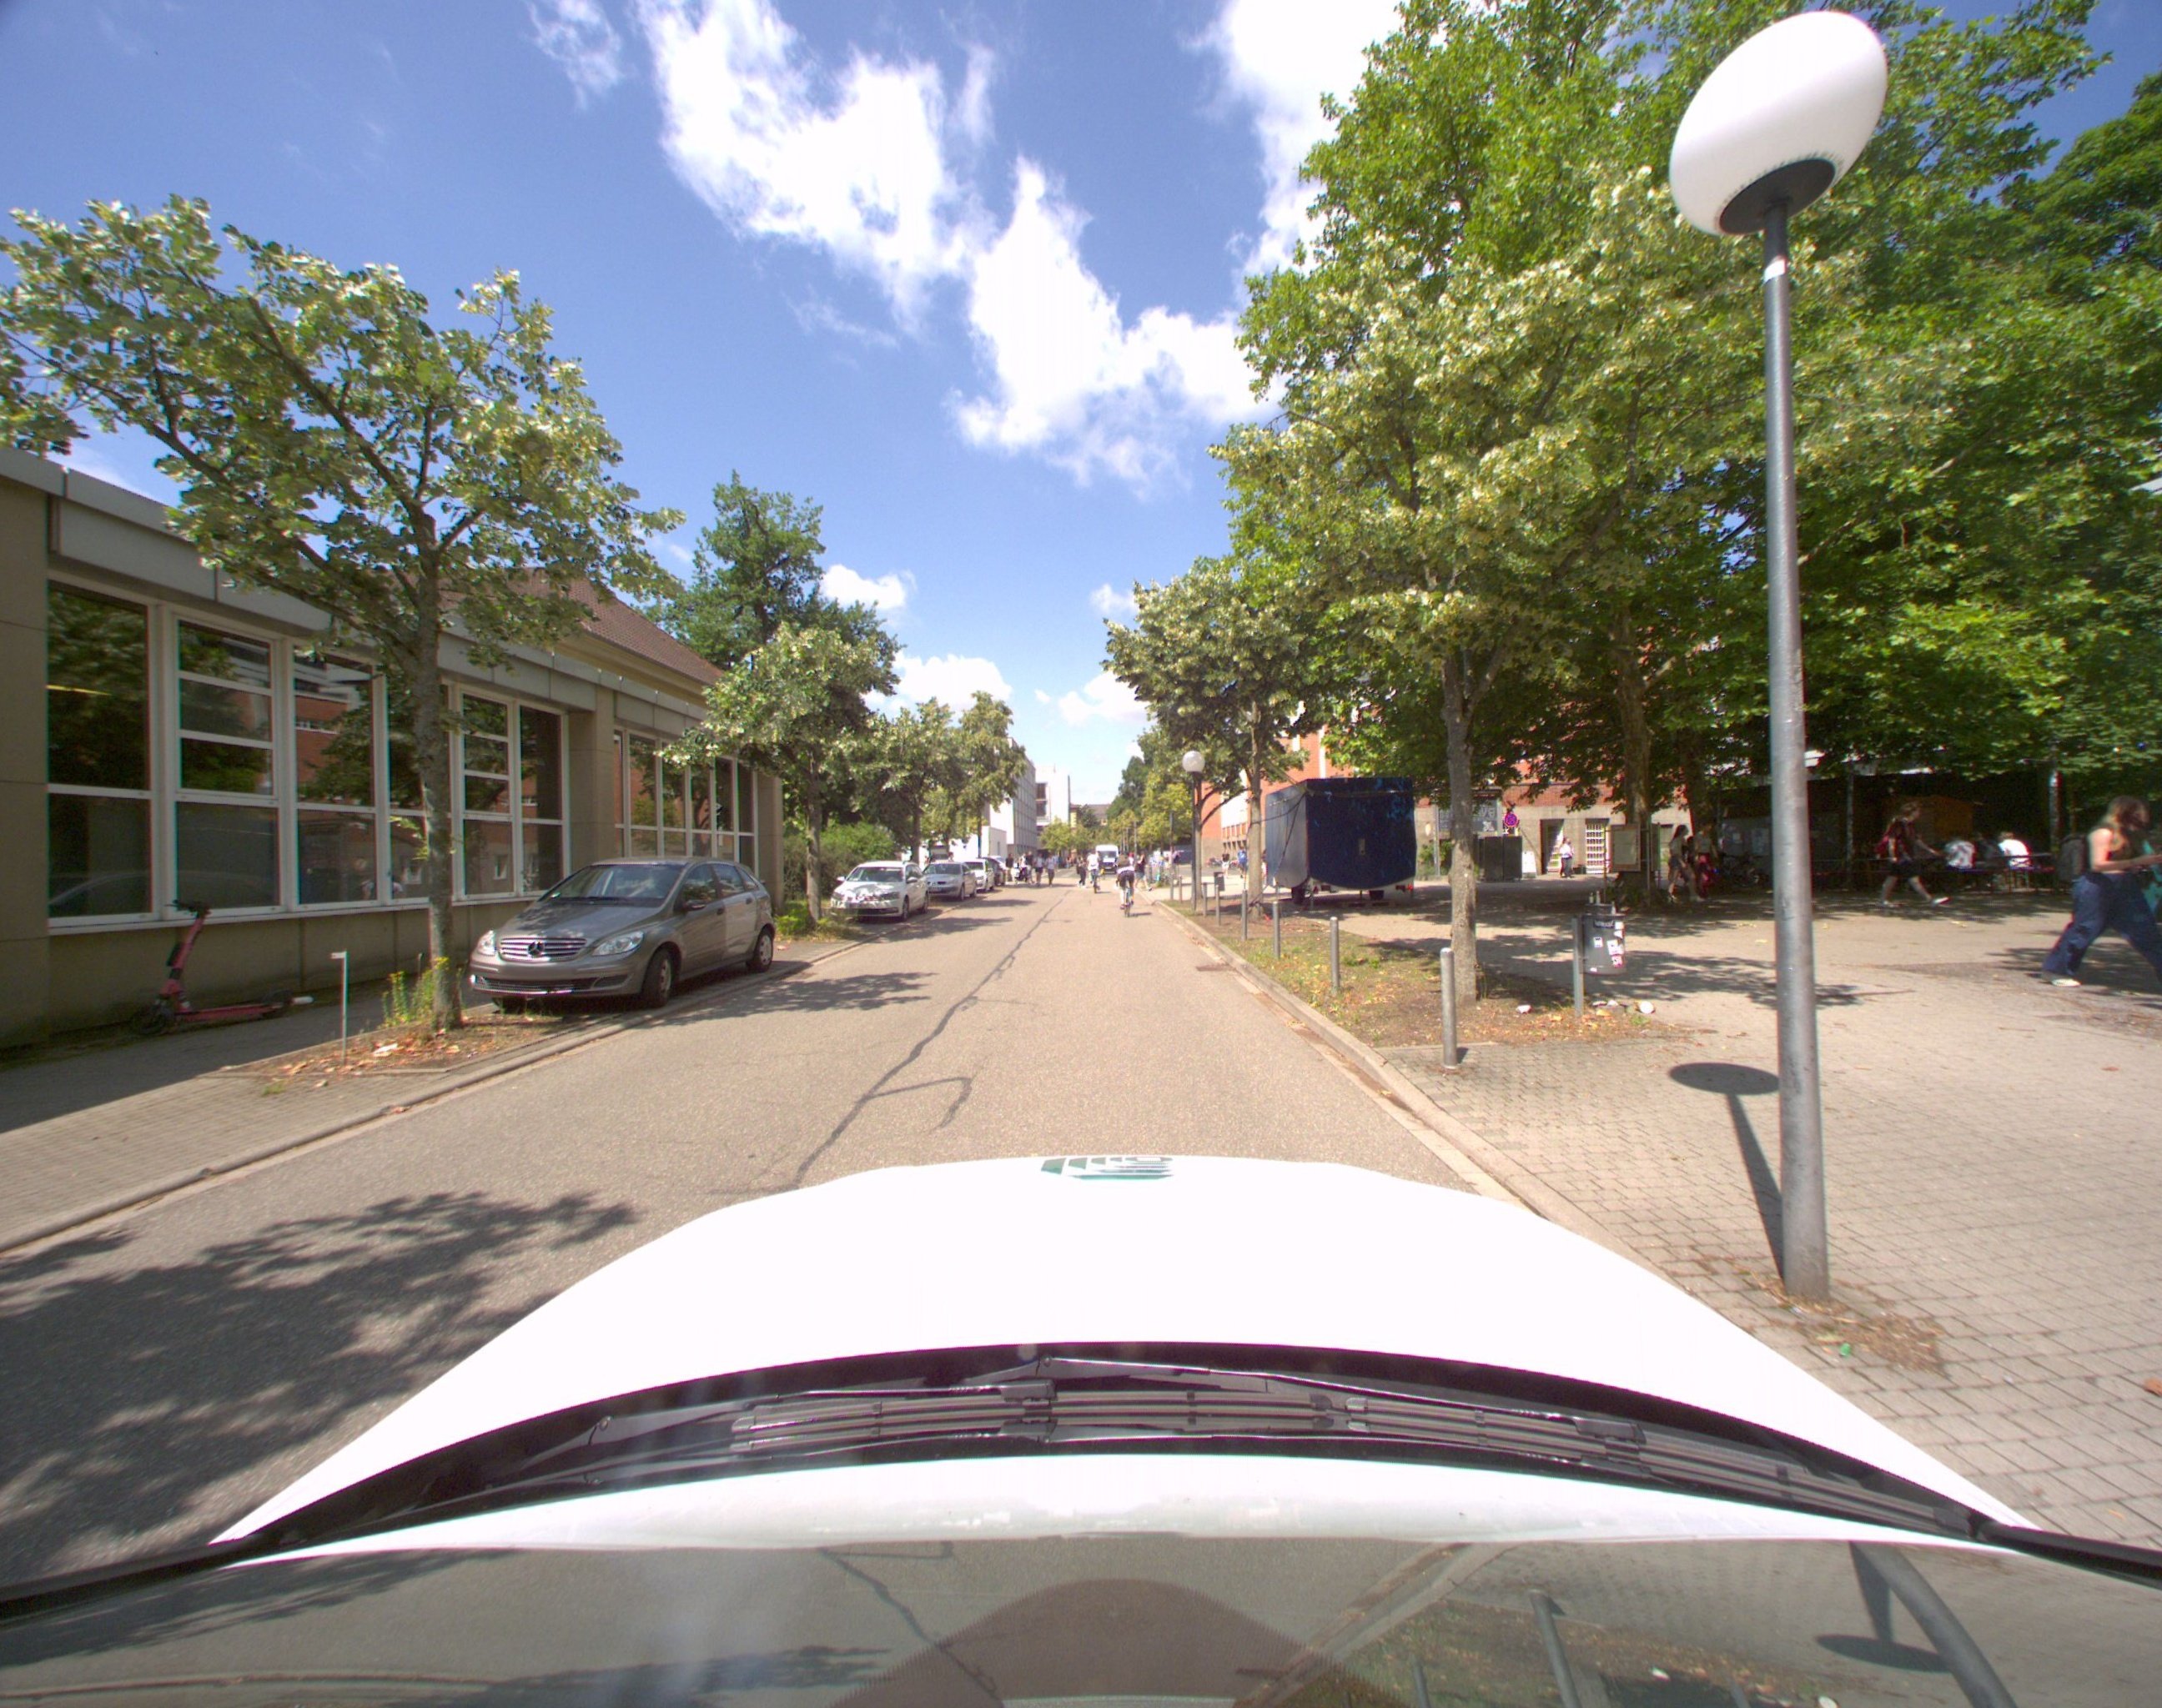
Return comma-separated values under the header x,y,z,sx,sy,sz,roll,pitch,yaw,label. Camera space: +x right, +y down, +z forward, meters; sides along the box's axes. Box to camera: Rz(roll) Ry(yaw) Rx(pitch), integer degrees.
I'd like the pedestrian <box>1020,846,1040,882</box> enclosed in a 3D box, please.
x,y,z,sx,sy,sz,roll,pitch,yaw,label
-2.868,0.539,45.808,0.818,1.980,0.695,1,0,25,pedestrian

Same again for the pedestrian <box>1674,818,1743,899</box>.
x,y,z,sx,sy,sz,roll,pitch,yaw,label
13.275,0.094,17.249,0.762,1.661,0.824,-2,-1,1,pedestrian

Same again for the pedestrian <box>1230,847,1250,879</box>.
x,y,z,sx,sy,sz,roll,pitch,yaw,label
9.126,0.522,46.618,0.710,1.787,0.748,-5,2,-19,pedestrian

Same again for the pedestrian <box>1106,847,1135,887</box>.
x,y,z,sx,sy,sz,roll,pitch,yaw,label
1.906,0.626,39.540,1.102,1.859,0.860,2,3,35,pedestrian

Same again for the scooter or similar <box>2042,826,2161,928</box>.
x,y,z,sx,sy,sz,roll,pitch,yaw,label
13.116,0.277,10.275,0.422,1.219,1.295,-2,-1,2,scooter or similar

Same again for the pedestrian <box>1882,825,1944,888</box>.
x,y,z,sx,sy,sz,roll,pitch,yaw,label
18.521,0.056,18.139,0.568,1.346,0.728,-4,0,-3,pedestrian

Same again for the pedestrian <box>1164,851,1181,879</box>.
x,y,z,sx,sy,sz,roll,pitch,yaw,label
5.629,0.654,49.989,0.952,1.694,0.707,1,2,11,pedestrian

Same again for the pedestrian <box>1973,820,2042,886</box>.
x,y,z,sx,sy,sz,roll,pitch,yaw,label
19.740,-0.030,17.362,0.568,1.346,0.728,-4,0,-3,pedestrian

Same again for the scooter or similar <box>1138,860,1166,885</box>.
x,y,z,sx,sy,sz,roll,pitch,yaw,label
3.691,0.939,42.231,1.248,1.265,0.655,-2,0,33,scooter or similar

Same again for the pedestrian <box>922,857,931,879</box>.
x,y,z,sx,sy,sz,roll,pitch,yaw,label
-12.874,1.166,67.931,0.549,1.764,0.586,-1,-1,2,pedestrian

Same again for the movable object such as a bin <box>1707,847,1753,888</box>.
x,y,z,sx,sy,sz,roll,pitch,yaw,label
17.421,0.365,21.878,0.597,1.071,0.742,-1,-2,2,movable object such as a bin

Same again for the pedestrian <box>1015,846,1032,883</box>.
x,y,z,sx,sy,sz,roll,pitch,yaw,label
-3.174,0.572,44.906,0.620,1.980,0.821,-1,-2,-30,pedestrian

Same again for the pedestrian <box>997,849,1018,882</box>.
x,y,z,sx,sy,sz,roll,pitch,yaw,label
-4.057,0.637,45.218,0.794,1.772,0.859,1,0,25,pedestrian

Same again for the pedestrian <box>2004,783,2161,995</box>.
x,y,z,sx,sy,sz,roll,pitch,yaw,label
8.220,0.251,6.505,0.566,1.571,0.927,-3,-1,2,pedestrian

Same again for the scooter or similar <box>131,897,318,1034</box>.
x,y,z,sx,sy,sz,roll,pitch,yaw,label
-8.272,1.034,7.931,0.503,1.169,1.216,0,0,2,scooter or similar

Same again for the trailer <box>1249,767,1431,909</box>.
x,y,z,sx,sy,sz,roll,pitch,yaw,label
6.451,-0.353,21.378,2.683,3.051,6.257,-3,0,0,trailer

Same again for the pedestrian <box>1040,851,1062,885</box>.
x,y,z,sx,sy,sz,roll,pitch,yaw,label
-1.577,0.723,42.631,0.897,1.739,0.683,-2,-1,39,pedestrian

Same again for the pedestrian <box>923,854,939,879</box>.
x,y,z,sx,sy,sz,roll,pitch,yaw,label
-10.563,0.894,57.521,0.979,1.785,0.669,-1,-2,0,pedestrian

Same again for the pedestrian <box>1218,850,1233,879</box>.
x,y,z,sx,sy,sz,roll,pitch,yaw,label
8.247,0.592,46.443,0.503,1.630,0.568,-5,1,-18,pedestrian

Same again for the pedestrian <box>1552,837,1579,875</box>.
x,y,z,sx,sy,sz,roll,pitch,yaw,label
20.944,0.075,35.216,0.657,1.607,0.678,-2,-1,-14,pedestrian

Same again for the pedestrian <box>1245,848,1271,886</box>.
x,y,z,sx,sy,sz,roll,pitch,yaw,label
8.211,0.595,37.816,0.872,1.638,0.949,-6,0,1,pedestrian

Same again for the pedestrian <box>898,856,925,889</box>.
x,y,z,sx,sy,sz,roll,pitch,yaw,label
-10.586,1.171,50.761,1.163,1.905,1.024,-4,-10,33,pedestrian

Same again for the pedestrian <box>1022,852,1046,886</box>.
x,y,z,sx,sy,sz,roll,pitch,yaw,label
-2.438,0.776,42.292,0.971,1.739,0.705,-2,-2,41,pedestrian

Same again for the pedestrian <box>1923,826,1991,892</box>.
x,y,z,sx,sy,sz,roll,pitch,yaw,label
18.591,0.103,17.296,0.568,1.346,0.728,-4,0,-3,pedestrian

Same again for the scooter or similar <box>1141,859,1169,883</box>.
x,y,z,sx,sy,sz,roll,pitch,yaw,label
3.908,0.899,43.043,1.248,1.265,0.655,-2,0,33,scooter or similar

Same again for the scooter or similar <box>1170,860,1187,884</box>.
x,y,z,sx,sy,sz,roll,pitch,yaw,label
4.963,0.907,41.434,0.643,1.160,1.270,-2,0,17,scooter or similar

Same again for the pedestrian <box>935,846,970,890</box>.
x,y,z,sx,sy,sz,roll,pitch,yaw,label
-5.246,0.587,33.267,1.096,1.717,0.713,2,-4,20,pedestrian

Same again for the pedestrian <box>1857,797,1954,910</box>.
x,y,z,sx,sy,sz,roll,pitch,yaw,label
14.166,-0.011,14.021,0.762,1.855,0.824,-2,-1,1,pedestrian

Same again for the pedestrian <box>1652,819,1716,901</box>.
x,y,z,sx,sy,sz,roll,pitch,yaw,label
12.665,0.132,17.130,0.695,1.661,0.788,-2,-1,1,pedestrian

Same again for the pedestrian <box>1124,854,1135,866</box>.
x,y,z,sx,sy,sz,roll,pitch,yaw,label
8.106,0.983,136.483,1.495,1.996,1.646,-4,0,-1,pedestrian

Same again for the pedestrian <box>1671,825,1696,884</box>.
x,y,z,sx,sy,sz,roll,pitch,yaw,label
19.462,0.006,26.305,0.444,1.883,0.531,-1,0,11,pedestrian

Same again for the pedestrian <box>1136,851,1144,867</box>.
x,y,z,sx,sy,sz,roll,pitch,yaw,label
6.982,0.535,96.351,0.787,1.860,1.026,-2,0,2,pedestrian

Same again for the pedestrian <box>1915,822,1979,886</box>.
x,y,z,sx,sy,sz,roll,pitch,yaw,label
19.328,-0.007,18.185,0.568,1.346,0.728,-4,0,-3,pedestrian

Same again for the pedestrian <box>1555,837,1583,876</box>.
x,y,z,sx,sy,sz,roll,pitch,yaw,label
20.551,0.102,34.304,0.657,1.607,0.678,-2,-1,-14,pedestrian

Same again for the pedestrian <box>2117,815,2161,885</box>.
x,y,z,sx,sy,sz,roll,pitch,yaw,label
21.445,-0.091,16.210,0.665,1.346,0.718,-4,0,-3,pedestrian

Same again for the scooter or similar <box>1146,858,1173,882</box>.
x,y,z,sx,sy,sz,roll,pitch,yaw,label
4.225,0.870,43.811,1.248,1.265,0.644,-2,0,33,scooter or similar

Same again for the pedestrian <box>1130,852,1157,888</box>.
x,y,z,sx,sy,sz,roll,pitch,yaw,label
2.828,0.715,36.873,0.855,1.595,0.820,-3,0,-42,pedestrian
